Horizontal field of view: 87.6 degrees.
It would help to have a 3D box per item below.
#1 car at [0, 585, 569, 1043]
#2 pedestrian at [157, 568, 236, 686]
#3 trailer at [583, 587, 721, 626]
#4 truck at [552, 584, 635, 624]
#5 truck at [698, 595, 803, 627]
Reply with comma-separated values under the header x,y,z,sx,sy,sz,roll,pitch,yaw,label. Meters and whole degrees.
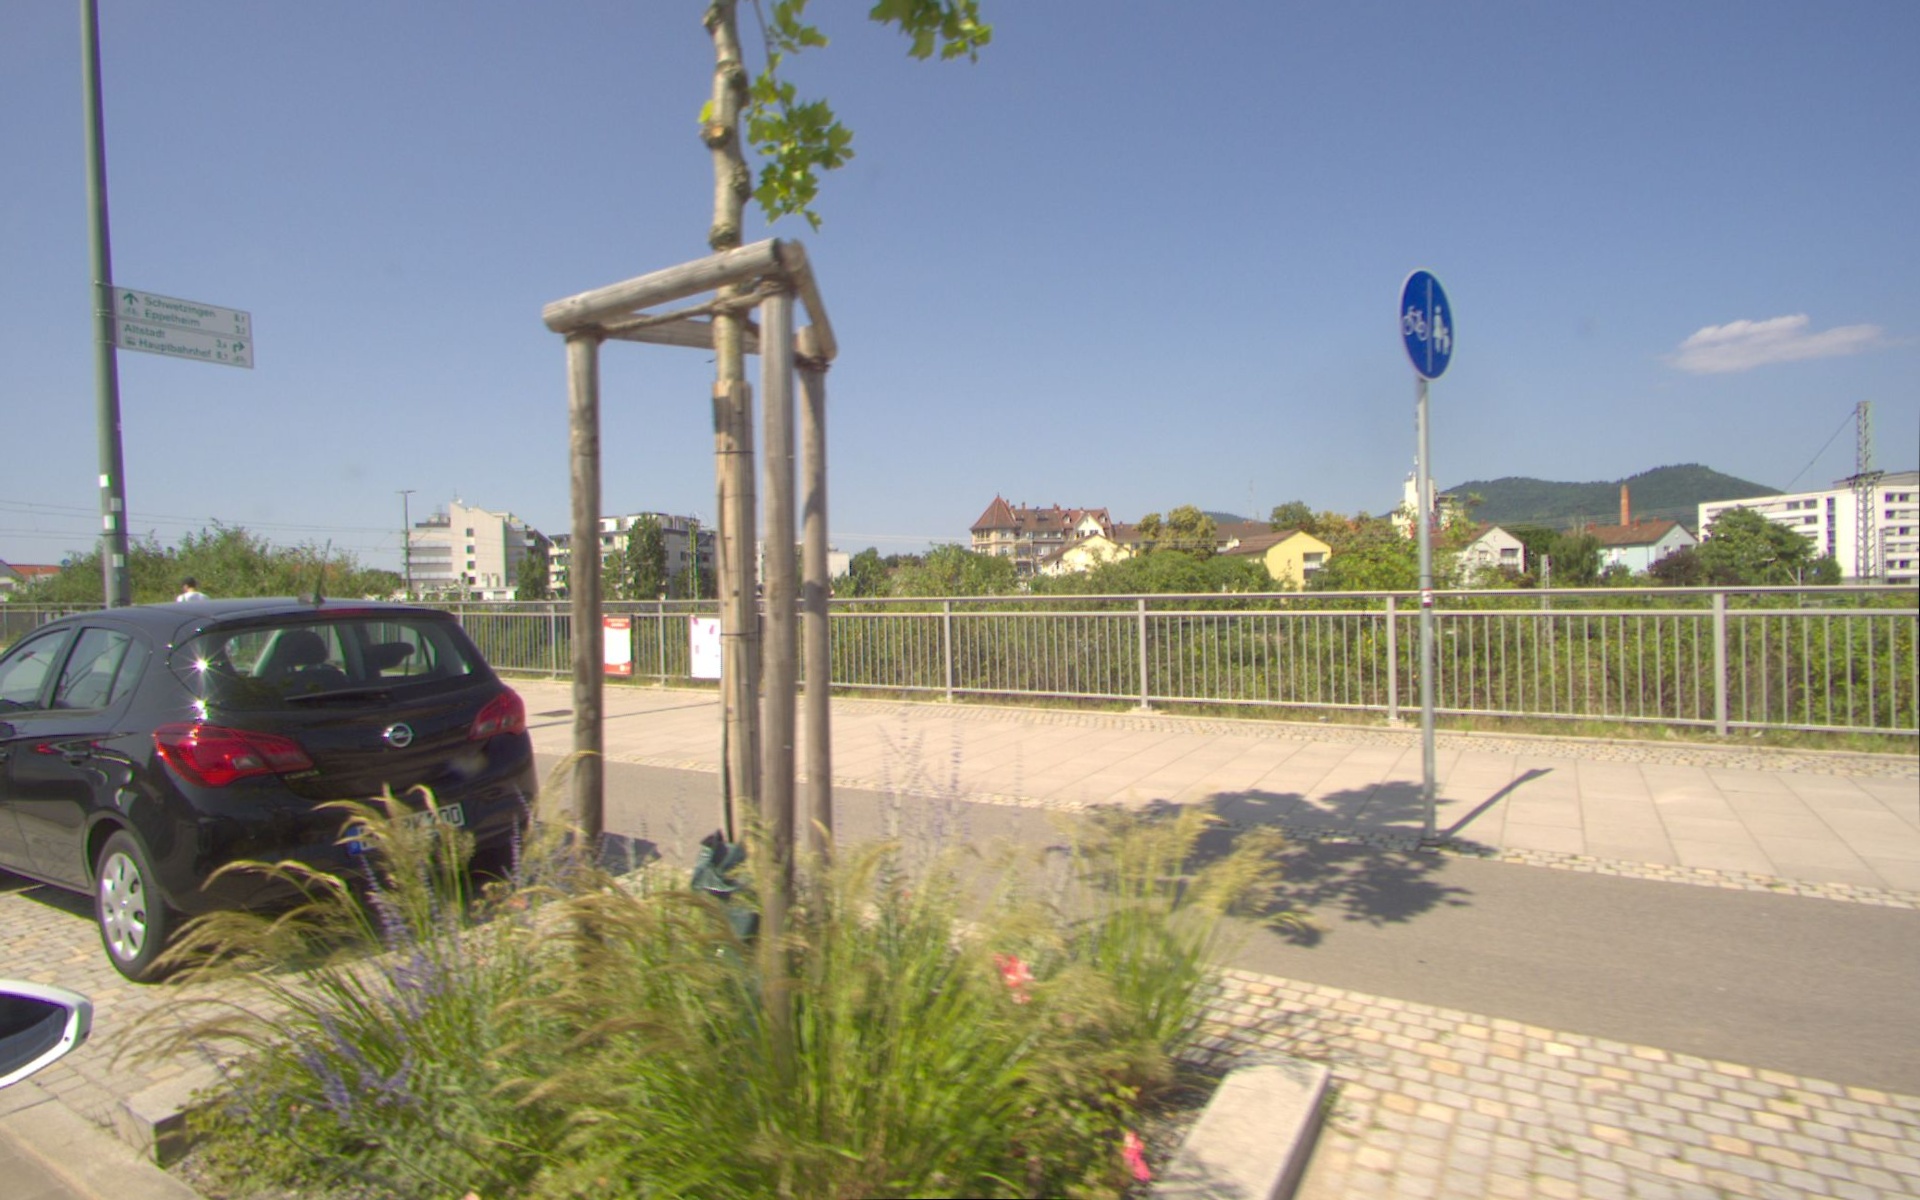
x,y,z,sx,sy,sz,roll,pitch,yaw,label
-3.815,0.750,5.109,3.496,1.577,1.577,0,3,32,car
-12.435,0.449,16.316,0.872,1.853,0.757,-1,-1,32,pedestrian
-29.173,0.773,96.445,3.674,3.244,17.241,-1,-2,17,trailer
-31.904,0.456,87.544,3.672,3.244,6.484,-1,-2,17,truck
-23.662,1.454,115.231,3.674,3.244,17.873,-1,-2,17,truck
